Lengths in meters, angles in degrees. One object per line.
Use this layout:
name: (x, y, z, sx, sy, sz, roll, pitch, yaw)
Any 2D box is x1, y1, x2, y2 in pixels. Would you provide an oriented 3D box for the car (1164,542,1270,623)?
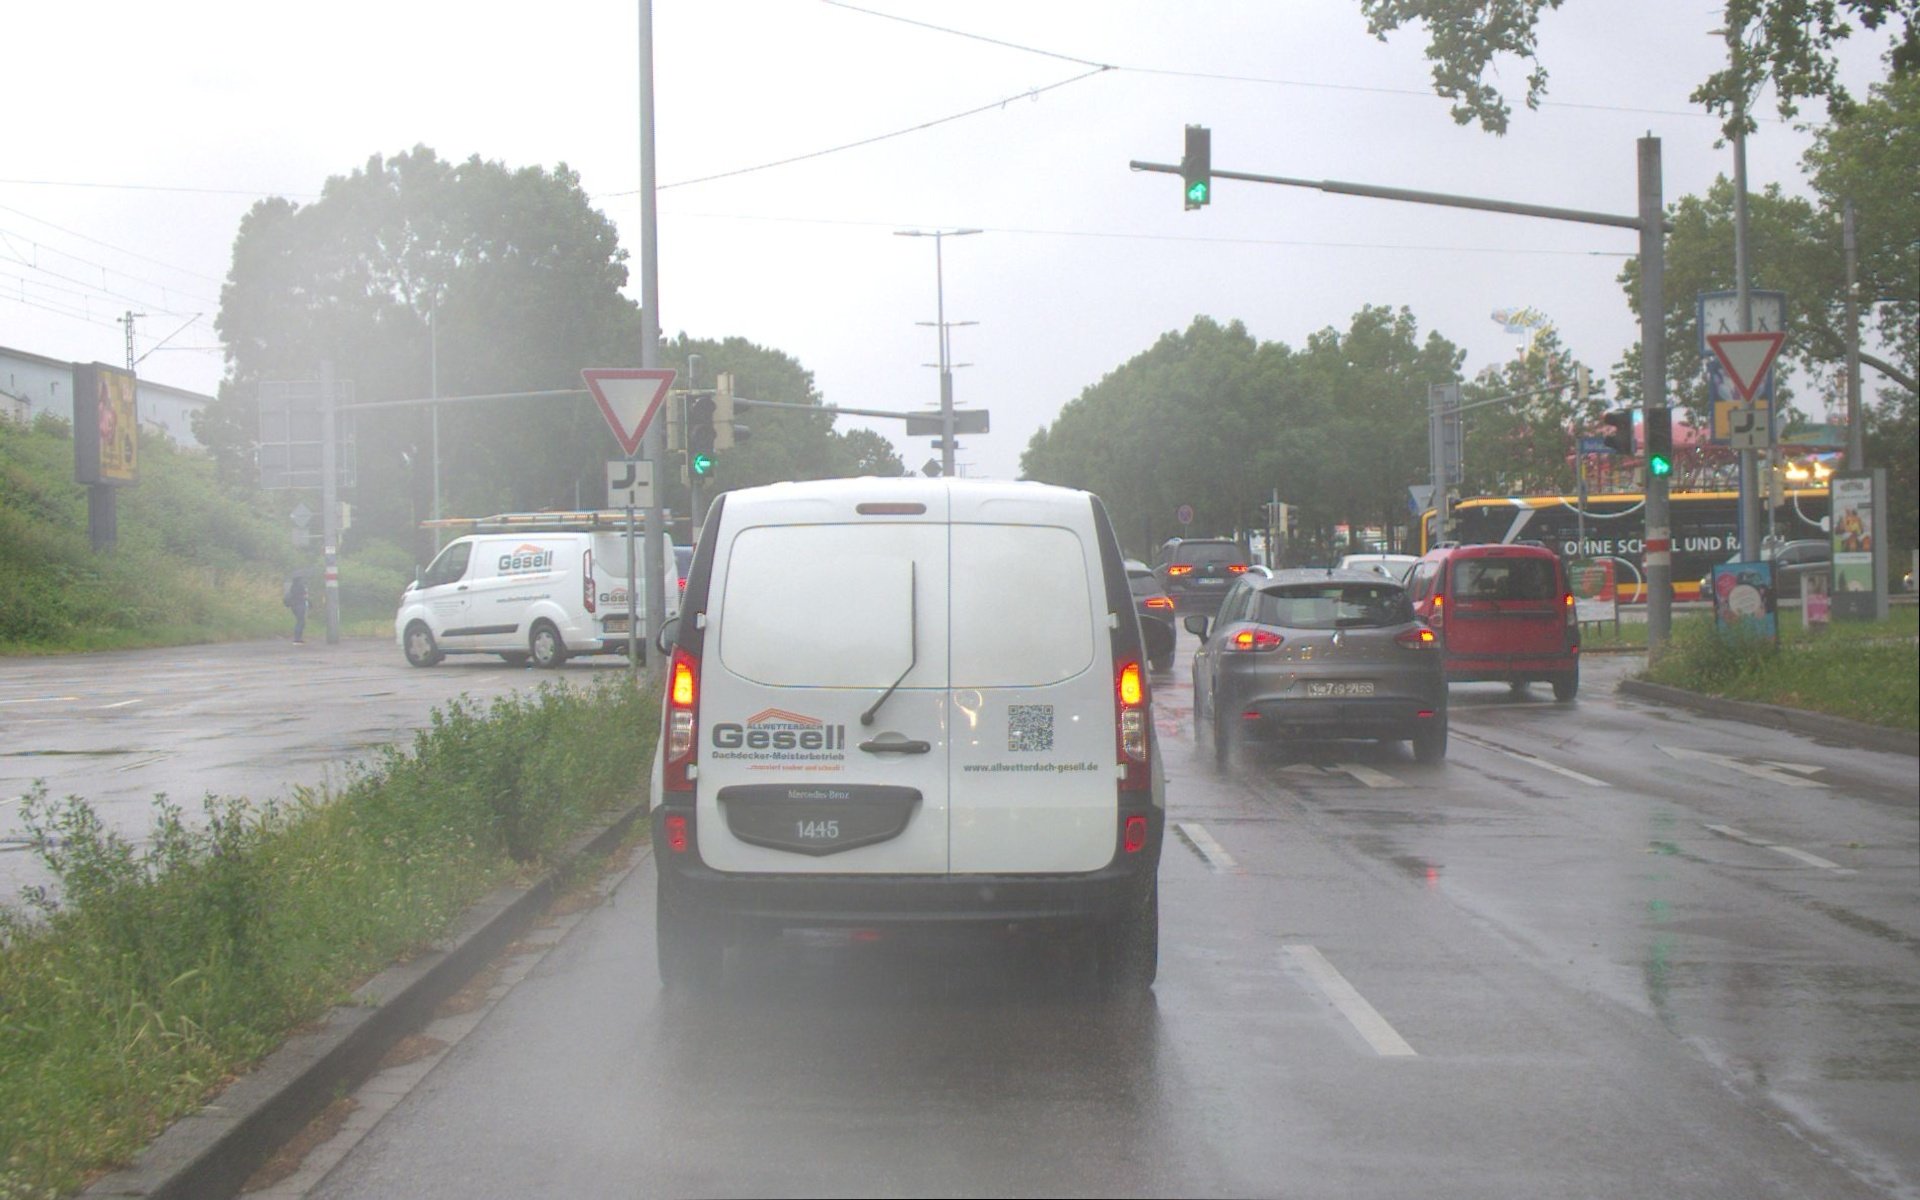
car: (5.296, -0.385, 71.227, 1.993, 1.568, 4.000, -1, 1, 2)

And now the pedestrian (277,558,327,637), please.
pedestrian: (-14.517, -0.062, 75.845, 1.001, 1.713, 0.820, -1, 1, -8)

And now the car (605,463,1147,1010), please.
car: (-0.285, 0.417, 13.173, 1.756, 1.771, 4.000, 0, 1, 0)

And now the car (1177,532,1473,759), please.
car: (2.746, 0.306, 26.678, 1.842, 1.612, 4.000, 0, 1, 0)

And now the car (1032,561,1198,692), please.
car: (2.024, 0.316, 46.048, 1.835, 1.650, 4.001, 1, 1, -3)

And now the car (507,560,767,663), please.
car: (-5.456, 0.198, 57.895, 3.938, 1.613, 1.996, -1, 1, 33)

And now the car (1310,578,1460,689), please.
car: (6.432, 0.477, 52.438, 1.842, 1.612, 4.000, 0, 1, 1)

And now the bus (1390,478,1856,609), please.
bus: (18.331, -1.561, 95.611, 12.249, 3.257, 3.275, -1, 1, 0)

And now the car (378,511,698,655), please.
car: (-6.190, -0.245, 50.062, 4.817, 1.949, 1.995, 0, 2, 45)

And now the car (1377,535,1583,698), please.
car: (5.522, 0.146, 36.837, 1.632, 1.650, 3.485, 1, 1, 0)

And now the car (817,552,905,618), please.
car: (-2.738, -0.433, 95.702, 2.169, 1.714, 4.303, -1, 1, 2)

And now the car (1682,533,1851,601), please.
car: (20.985, -0.855, 89.406, 4.329, 1.645, 1.933, -2, 1, -37)
